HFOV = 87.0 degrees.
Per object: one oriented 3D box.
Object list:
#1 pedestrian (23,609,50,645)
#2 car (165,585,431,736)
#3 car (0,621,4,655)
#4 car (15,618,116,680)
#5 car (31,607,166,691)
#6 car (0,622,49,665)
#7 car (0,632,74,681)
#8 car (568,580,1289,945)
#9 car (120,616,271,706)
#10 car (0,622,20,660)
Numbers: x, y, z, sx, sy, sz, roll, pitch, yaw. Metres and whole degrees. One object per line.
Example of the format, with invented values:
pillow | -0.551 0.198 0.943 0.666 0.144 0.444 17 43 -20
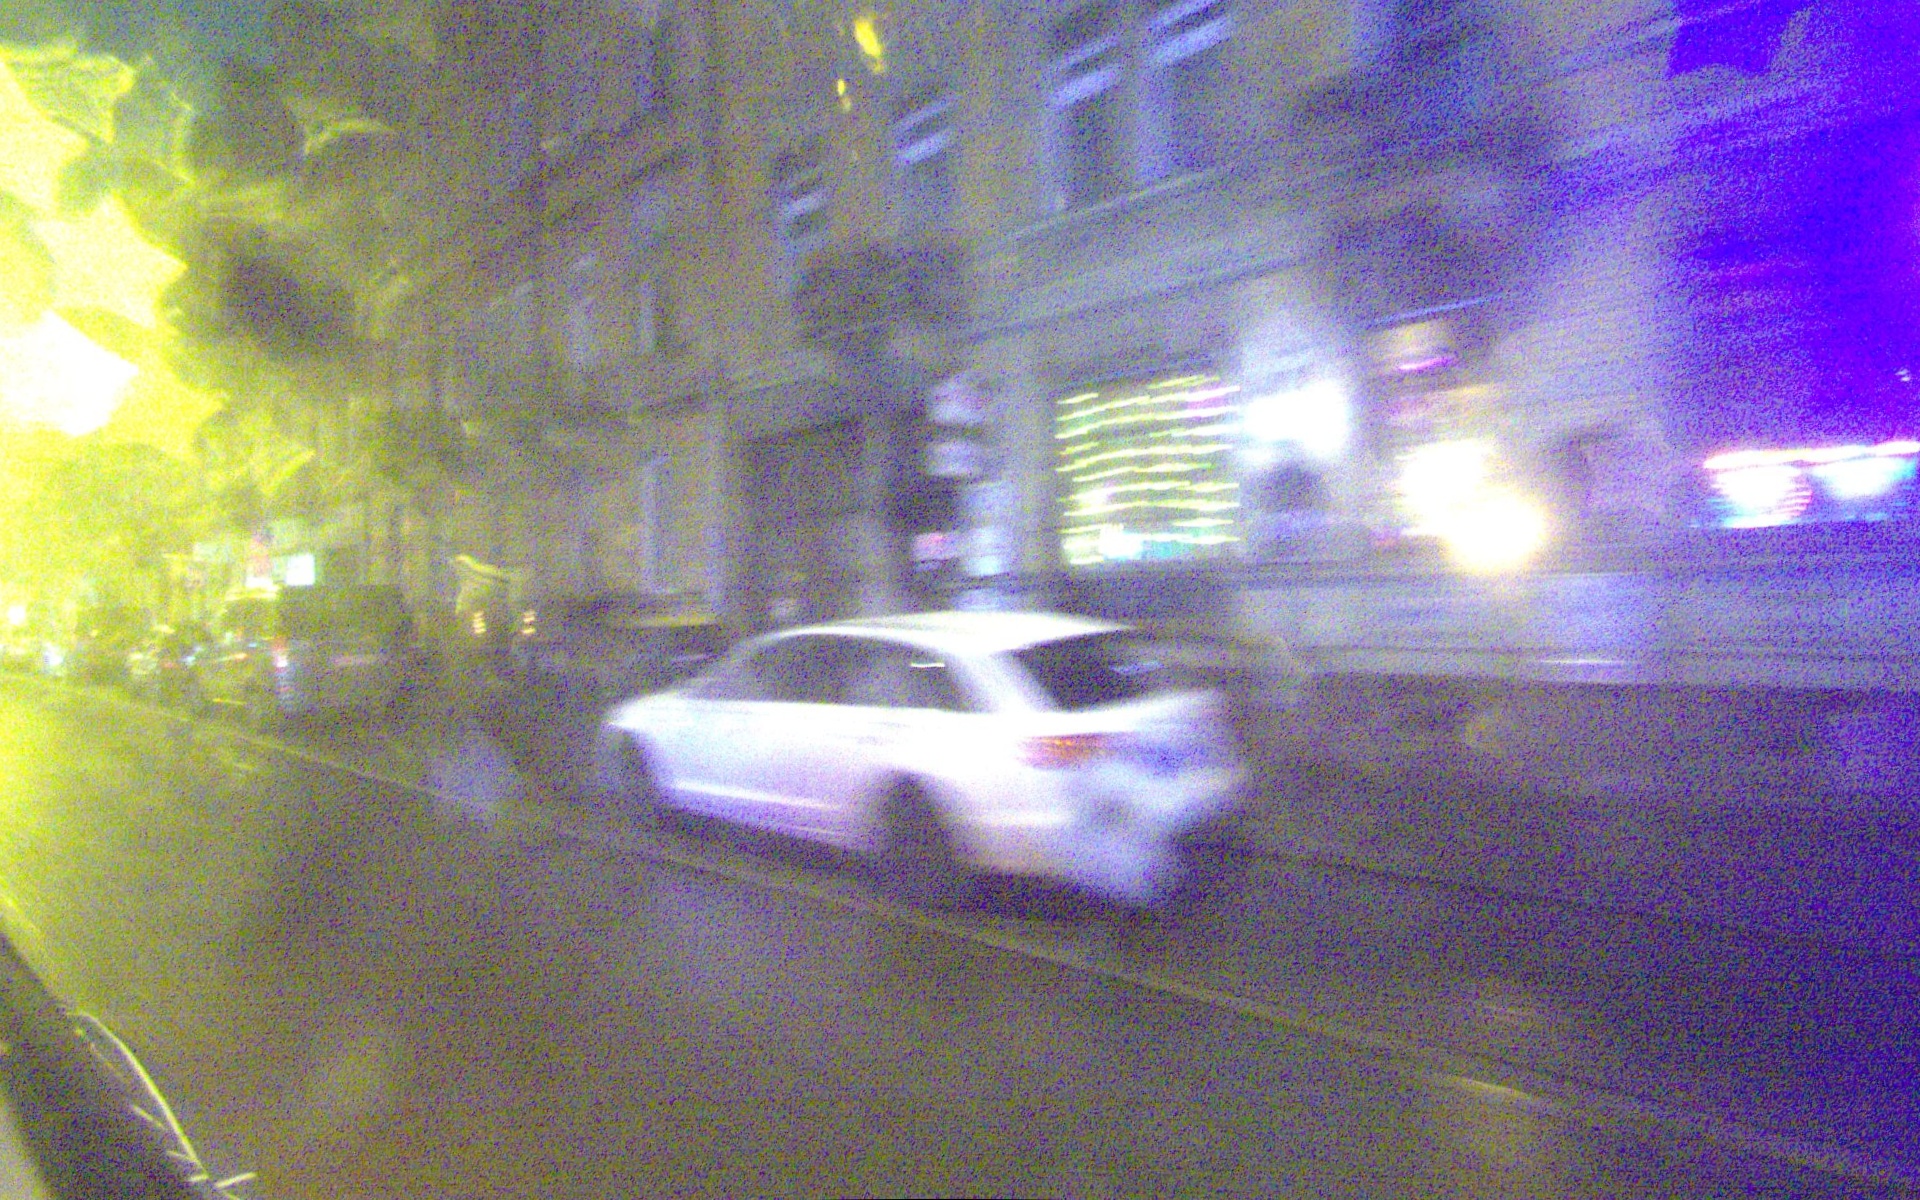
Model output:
pedestrian | -47.702 1.363 52.261 0.629 1.801 0.900 -1 2 42
car | -9.815 0.785 14.804 5.205 1.843 1.975 -2 -1 42
car | -43.339 1.730 44.608 1.673 1.490 3.385 -1 -2 -45
car | -25.122 1.329 28.391 3.718 1.587 1.708 -2 -1 42
car | -21.130 1.135 24.742 4.827 1.843 1.882 -2 -1 42
car | -34.515 1.545 36.742 4.271 1.464 1.708 -2 -1 42
car | -30.157 1.779 32.742 4.553 1.402 1.708 -2 -1 42
car | -0.536 0.733 6.592 4.771 1.494 1.749 -2 2 42
car | -14.232 1.068 18.769 3.718 1.471 1.552 -2 -1 42
car | -38.791 1.624 40.420 3.382 1.464 1.512 -2 -1 42
